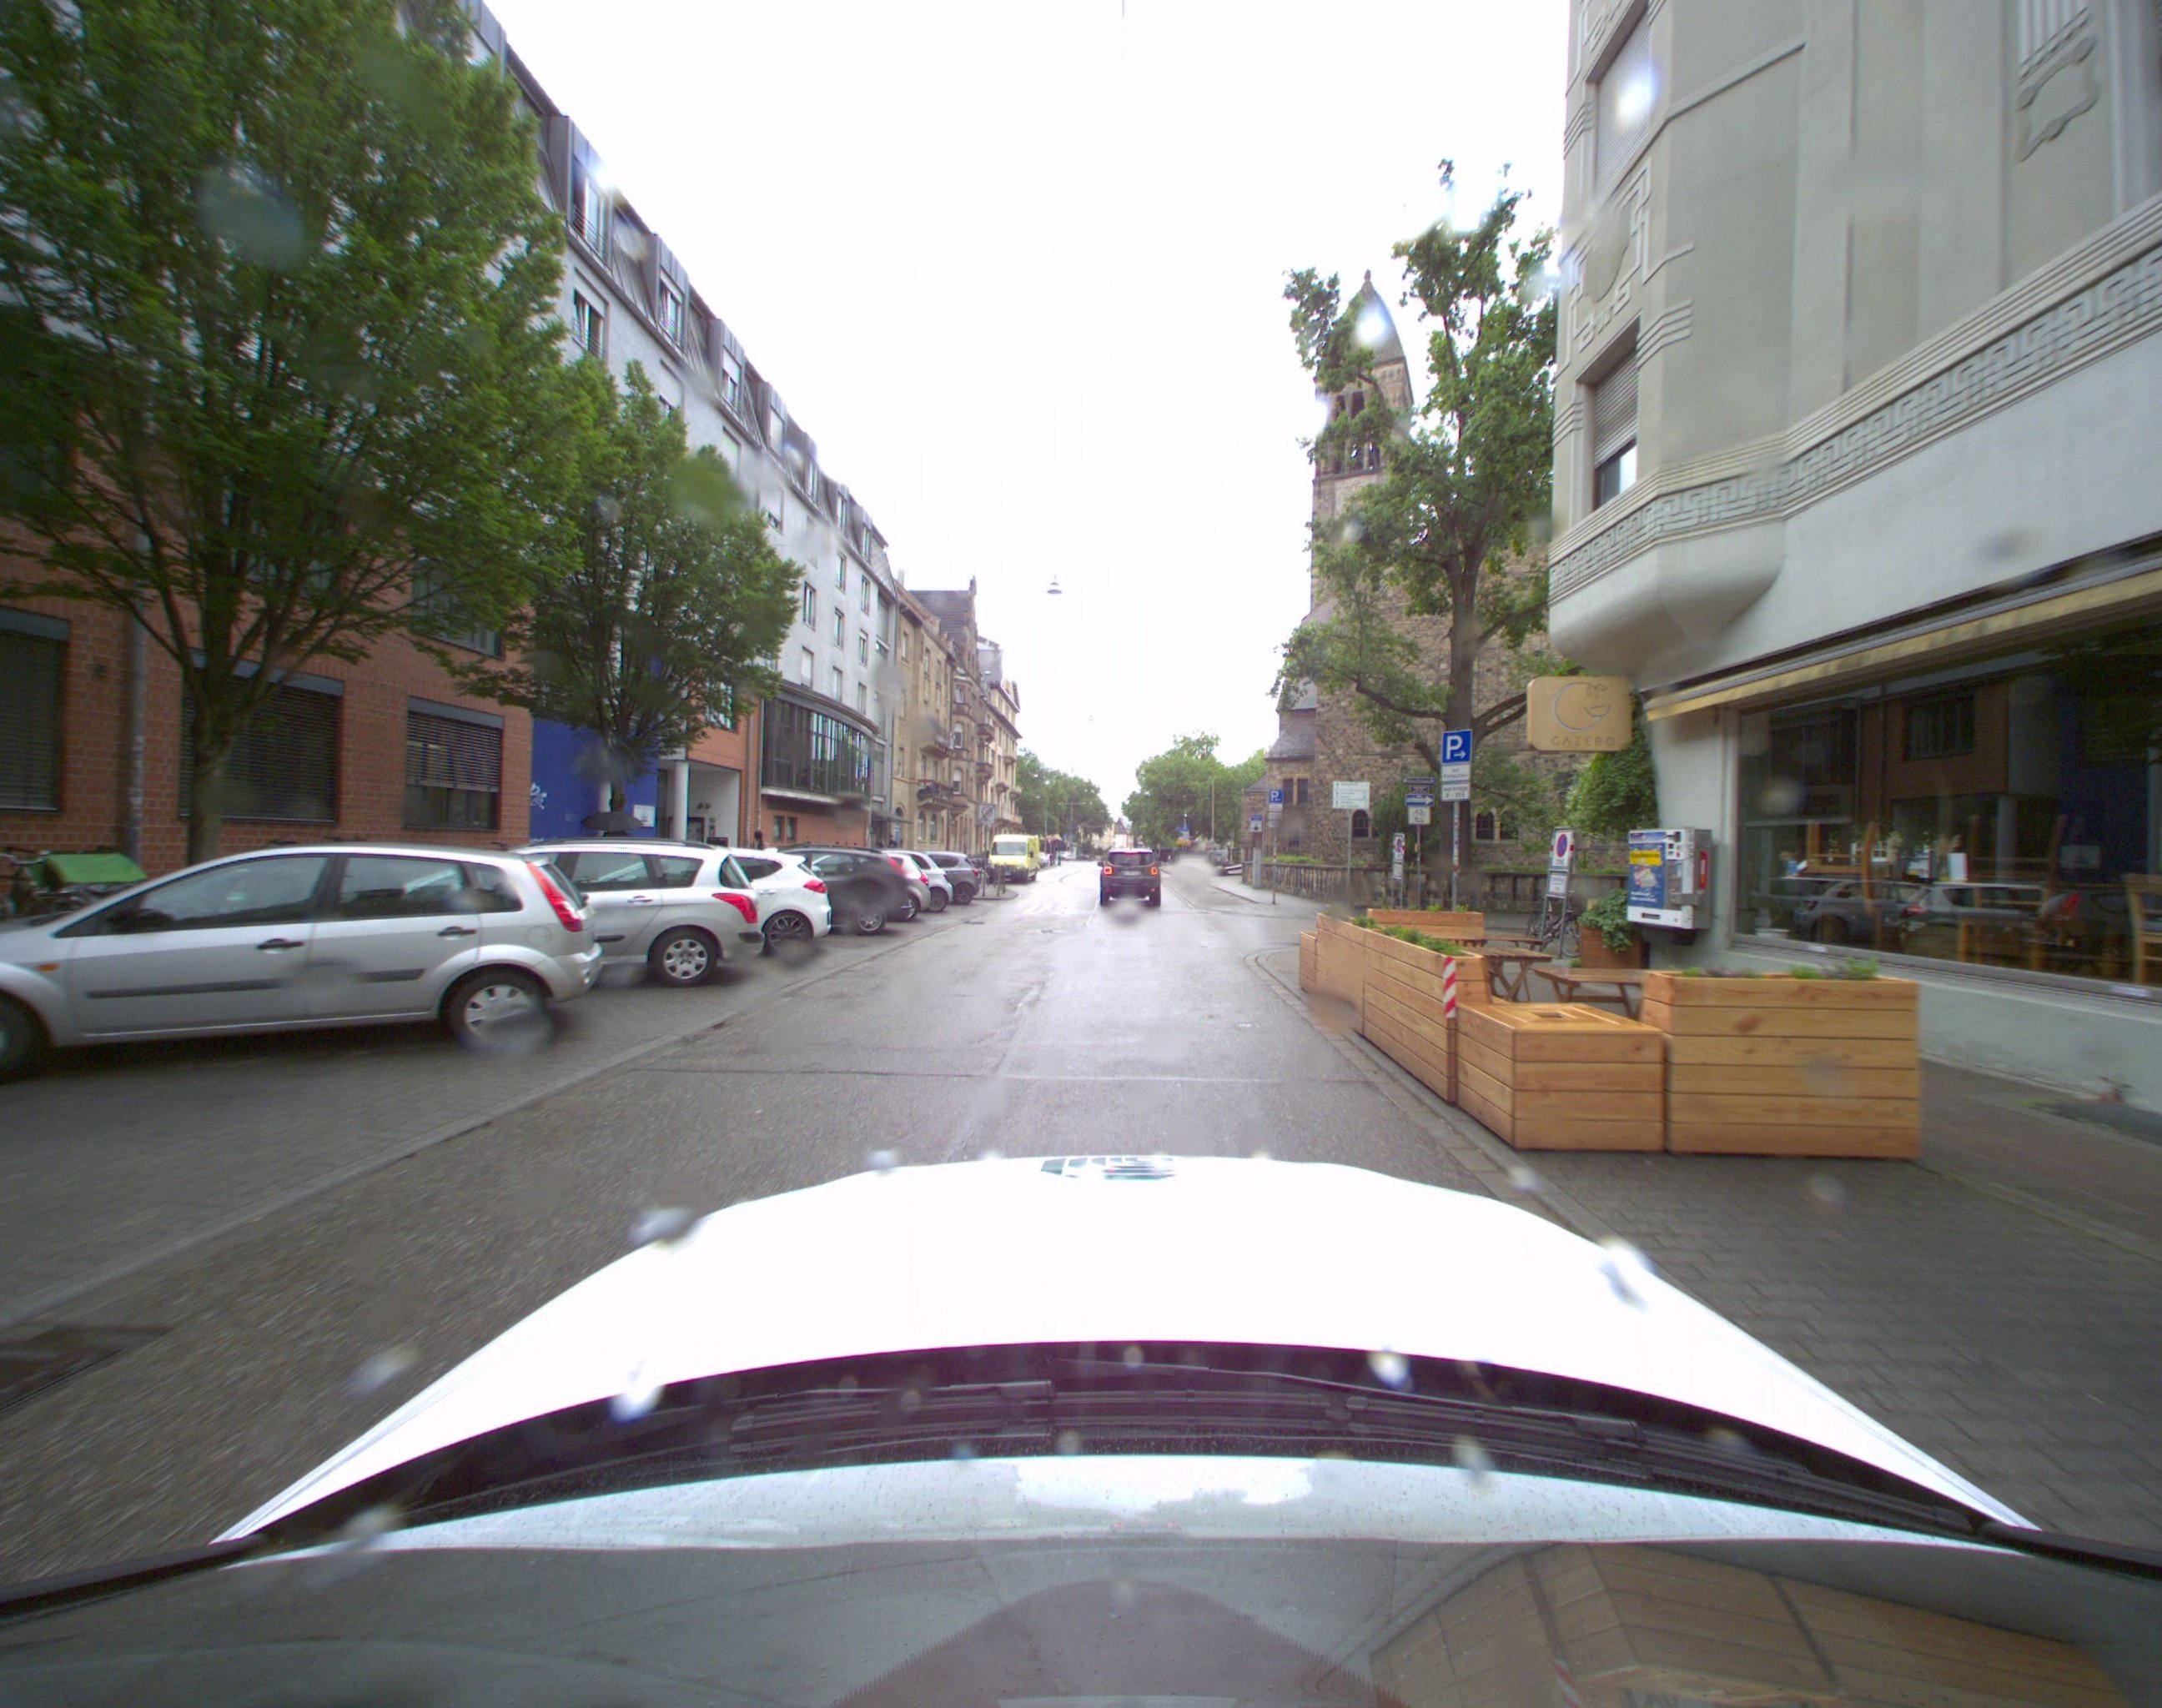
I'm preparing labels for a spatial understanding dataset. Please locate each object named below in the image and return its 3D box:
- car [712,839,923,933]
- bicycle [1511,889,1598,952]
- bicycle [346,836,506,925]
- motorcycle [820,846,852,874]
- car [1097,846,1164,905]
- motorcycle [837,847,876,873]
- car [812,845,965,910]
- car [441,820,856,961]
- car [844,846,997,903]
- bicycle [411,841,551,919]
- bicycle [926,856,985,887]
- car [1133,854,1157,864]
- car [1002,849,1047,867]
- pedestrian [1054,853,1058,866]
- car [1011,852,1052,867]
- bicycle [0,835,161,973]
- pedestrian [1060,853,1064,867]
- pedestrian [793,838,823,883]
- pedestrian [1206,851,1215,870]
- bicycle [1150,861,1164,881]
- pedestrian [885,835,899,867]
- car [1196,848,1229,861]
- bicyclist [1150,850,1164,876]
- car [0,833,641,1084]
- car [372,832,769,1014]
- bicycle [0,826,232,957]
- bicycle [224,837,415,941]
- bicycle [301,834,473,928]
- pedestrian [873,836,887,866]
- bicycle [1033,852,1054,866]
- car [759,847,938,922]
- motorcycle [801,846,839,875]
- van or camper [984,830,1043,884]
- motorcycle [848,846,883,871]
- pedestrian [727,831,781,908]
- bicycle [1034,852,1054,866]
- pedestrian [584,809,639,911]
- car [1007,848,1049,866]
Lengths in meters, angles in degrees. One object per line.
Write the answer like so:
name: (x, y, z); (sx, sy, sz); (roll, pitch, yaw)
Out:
car: (-4.785, 0.564, 14.830); (3.395, 1.542, 1.665); (2, 0, -28)
bicycle: (7.967, 1.101, 13.798); (0.450, 0.979, 1.921); (1, -3, 3)
bicycle: (-9.974, 0.399, 12.439); (1.889, 1.152, 0.554); (5, 0, 0)
motorcycle: (-11.109, 0.254, 36.933); (0.751, 1.174, 2.115); (4, 0, -1)
car: (1.483, 0.618, 25.326); (1.891, 1.671, 4.508); (1, 0, 2)
motorcycle: (-10.721, 0.302, 39.043); (0.748, 1.174, 2.124); (4, 0, 15)
car: (-4.822, 0.591, 20.390); (3.394, 1.507, 1.666); (2, 0, -28)
car: (-5.752, 0.555, 11.328); (4.538, 1.539, 2.315); (5, -3, -30)
car: (-4.566, 0.590, 23.167); (3.839, 1.507, 1.971); (2, 0, -28)
bicycle: (-10.336, 0.443, 14.056); (1.889, 1.152, 0.554); (5, 0, 0)
bicycle: (-4.798, 0.663, 31.215); (2.123, 1.097, 0.594); (3, 0, 3)
car: (9.375, 0.689, 119.222); (3.161, 1.501, 1.549); (0, 0, 20)
car: (-5.147, 0.368, 74.041); (3.518, 1.518, 1.867); (3, -1, -31)
pedestrian: (-2.887, 0.627, 93.554); (0.466, 1.585, 0.660); (1, 0, 2)
car: (-4.664, 0.508, 77.138); (3.434, 1.316, 1.762); (3, -1, -31)
bicycle: (-10.203, 0.448, 7.864); (1.889, 1.152, 0.554); (5, 0, 0)
pedestrian: (-2.177, 0.662, 94.234); (0.466, 1.585, 0.752); (1, 0, 2)
pedestrian: (-9.637, 0.221, 28.770); (0.704, 1.551, 0.609); (3, 0, 9)
pedestrian: (11.969, 0.611, 75.344); (0.688, 1.711, 0.685); (0, 0, 3)
bicycle: (4.110, 0.910, 44.282); (0.702, 1.054, 1.814); (0, 0, 3)
pedestrian: (-10.658, -0.178, 45.969); (0.663, 1.757, 0.791); (0, 0, -21)
car: (23.791, 0.027, 147.660); (5.874, 2.334, 2.063); (0, 0, 6)
bicyclist: (4.116, 0.472, 44.284); (0.702, 1.403, 1.172); (0, 0, 3)
car: (-5.507, 0.606, 6.174); (3.727, 1.452, 1.668); (0, 0, -33)
car: (-5.364, 0.628, 8.957); (3.396, 1.654, 1.618); (0, 0, -30)
bicycle: (-10.139, 0.375, 8.488); (1.889, 1.152, 0.554); (5, 0, 0)
bicycle: (-10.001, 0.450, 10.734); (1.889, 1.152, 0.554); (5, 0, 0)
bicycle: (-9.963, 0.376, 11.726); (1.889, 1.152, 0.554); (5, 0, 0)
pedestrian: (-11.293, -0.180, 45.709); (0.663, 1.675, 0.791); (0, 0, -21)
bicycle: (-4.029, 0.557, 87.540); (2.097, 1.444, 0.488); (0, 0, -18)
car: (-5.032, 0.644, 17.705); (3.397, 1.458, 1.664); (2, 0, -31)
motorcycle: (-11.109, 0.281, 34.777); (0.750, 1.174, 2.118); (4, 0, 4)
van or camper: (-3.445, 0.239, 42.815); (2.113, 2.531, 6.878); (-3, -2, 3)
motorcycle: (-10.799, 0.226, 40.845); (0.566, 1.174, 1.791); (3, 0, 26)
pedestrian: (-7.770, 0.350, 19.361); (0.820, 1.752, 0.759); (3, 0, 9)
bicycle: (-3.942, 0.526, 86.542); (2.115, 1.444, 0.536); (0, 0, -18)
pedestrian: (-8.086, 0.106, 14.042); (0.609, 1.707, 0.433); (1, -2, 3)
car: (-5.153, 0.284, 79.787); (3.753, 1.558, 1.656); (3, -1, -31)
